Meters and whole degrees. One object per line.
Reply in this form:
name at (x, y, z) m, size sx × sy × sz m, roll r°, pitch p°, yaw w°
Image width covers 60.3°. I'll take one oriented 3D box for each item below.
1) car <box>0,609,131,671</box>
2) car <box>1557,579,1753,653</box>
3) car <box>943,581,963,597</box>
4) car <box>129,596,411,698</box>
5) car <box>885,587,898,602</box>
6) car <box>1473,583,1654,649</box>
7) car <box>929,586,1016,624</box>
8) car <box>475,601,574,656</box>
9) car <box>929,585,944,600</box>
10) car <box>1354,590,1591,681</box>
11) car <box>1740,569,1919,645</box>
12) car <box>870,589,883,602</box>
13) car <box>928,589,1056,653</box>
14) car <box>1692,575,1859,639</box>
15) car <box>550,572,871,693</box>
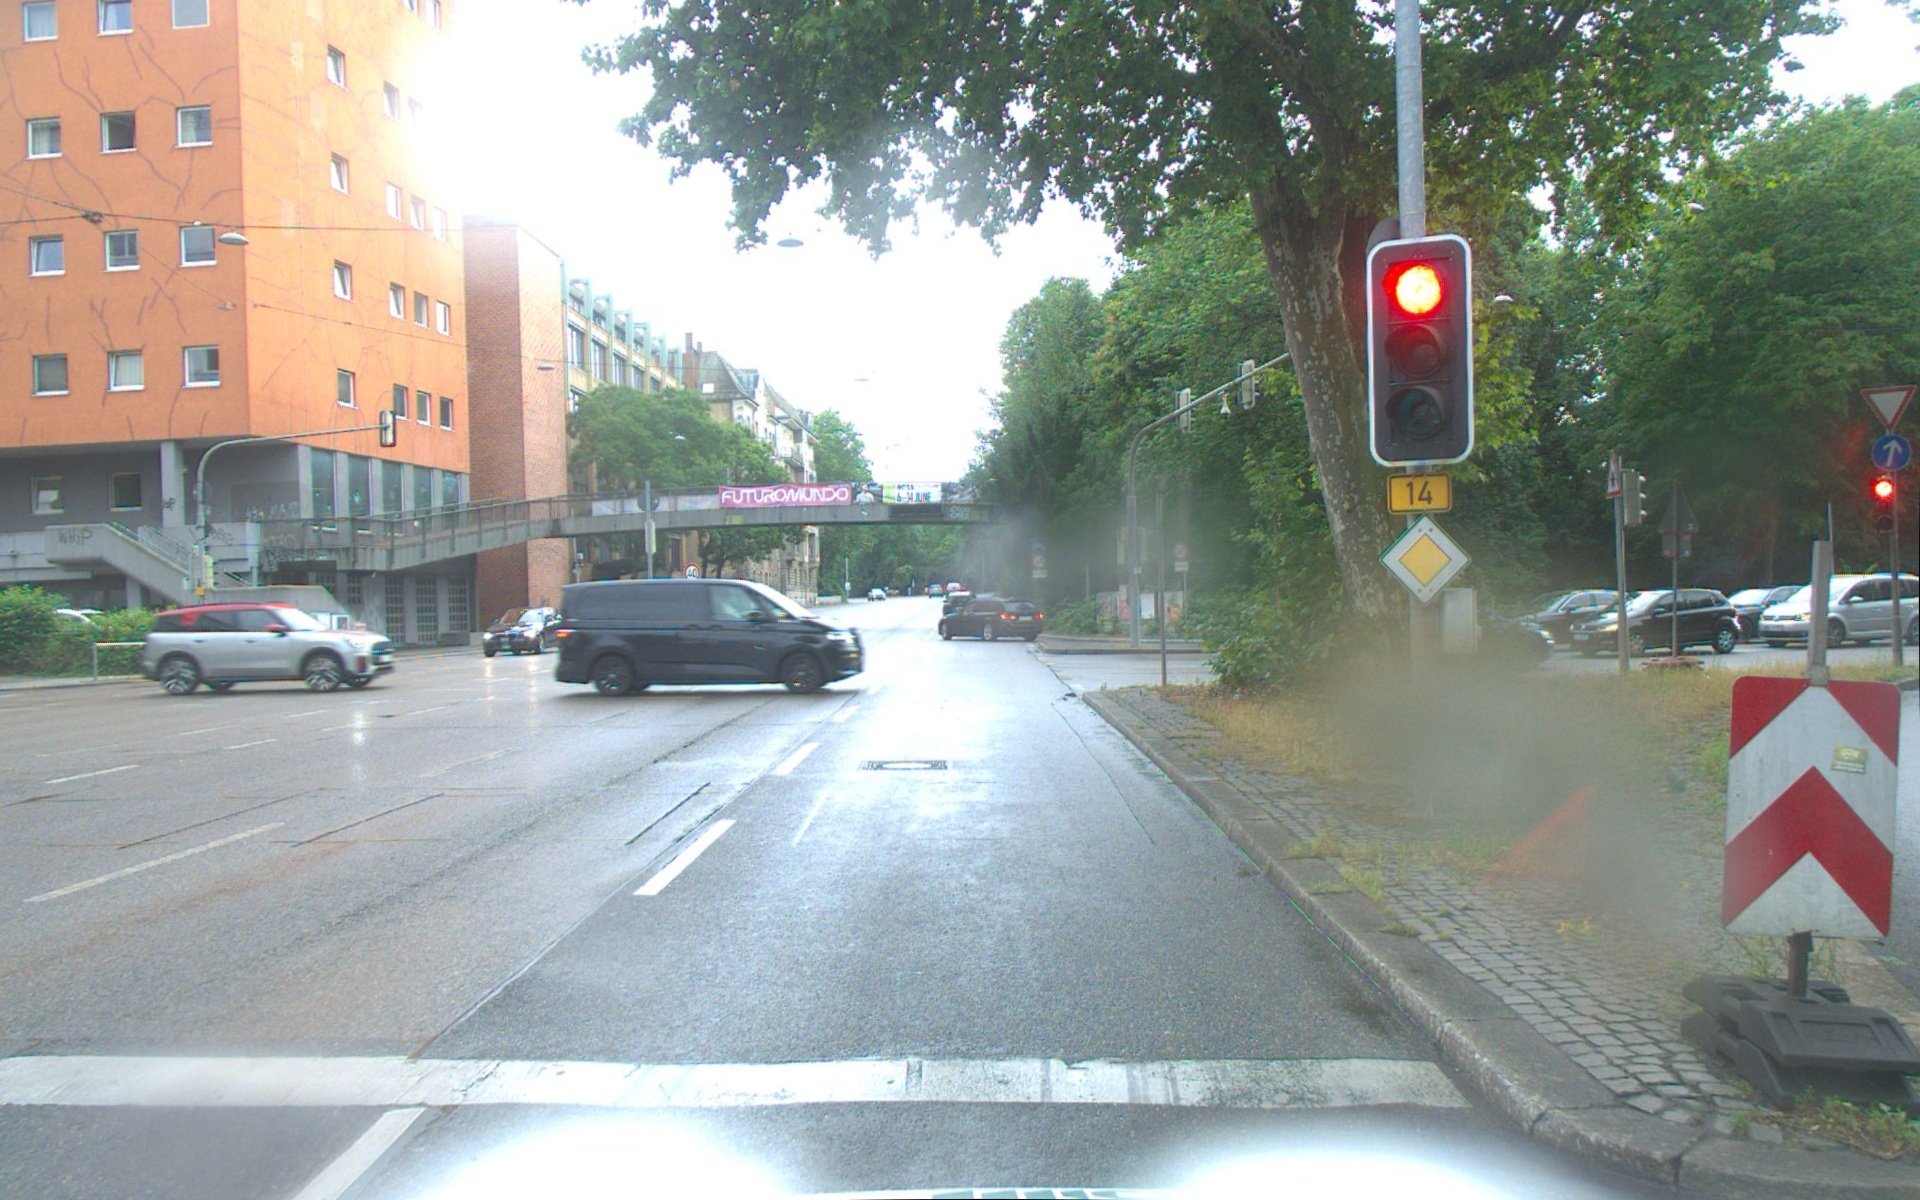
car at (-27.070, 1.208, 49.118) m, size 3.929 × 1.646 × 1.896 m, roll -3°, pitch 0°, yaw 9°
car at (15.387, 0.348, 36.640) m, size 3.791 × 1.511 × 1.665 m, roll -1°, pitch -1°, yaw -16°
car at (-0.788, -1.265, 189.402) m, size 2.078 × 1.765 × 4.196 m, roll 0°, pitch 1°, yaw -3°
car at (-12.829, 0.852, 30.946) m, size 4.419 × 1.666 × 1.881 m, roll -2°, pitch 0°, yaw -1°
car at (-9.670, -0.747, 234.096) m, size 1.727 × 1.959 × 3.705 m, roll -3°, pitch 0°, yaw -1°
car at (14.822, 0.378, 40.642) m, size 3.929 × 1.512 × 1.867 m, roll -1°, pitch 0°, yaw -21°
car at (0.551, 0.227, 75.636) m, size 1.857 × 1.666 × 4.475 m, roll -1°, pitch 0°, yaw -32°
car at (-13.296, 0.842, 50.702) m, size 1.953 × 1.545 × 3.999 m, roll -2°, pitch 0°, yaw 0°
car at (-2.930, -0.934, 205.266) m, size 1.727 × 1.726 × 3.705 m, roll -3°, pitch 0°, yaw -1°
car at (9.874, 0.667, 31.976) m, size 4.061 × 1.471 × 1.581 m, roll -3°, pitch 0°, yaw -11°
car at (20.625, 0.153, 38.805) m, size 4.199 × 1.512 × 1.763 m, roll -3°, pitch 0°, yaw -21°
car at (-11.722, -0.620, 232.679) m, size 1.586 × 1.726 × 3.548 m, roll -3°, pitch 0°, yaw -1°
car at (1.010, 0.712, 54.428) m, size 2.110 × 1.868 × 4.302 m, roll -3°, pitch 0°, yaw -33°
car at (20.739, 0.158, 42.081) m, size 3.768 × 1.512 × 1.734 m, roll -1°, pitch 0°, yaw -21°
car at (-4.054, 0.531, 27.469) m, size 4.971 × 1.878 × 2.000 m, roll -1°, pitch 0°, yaw 1°
